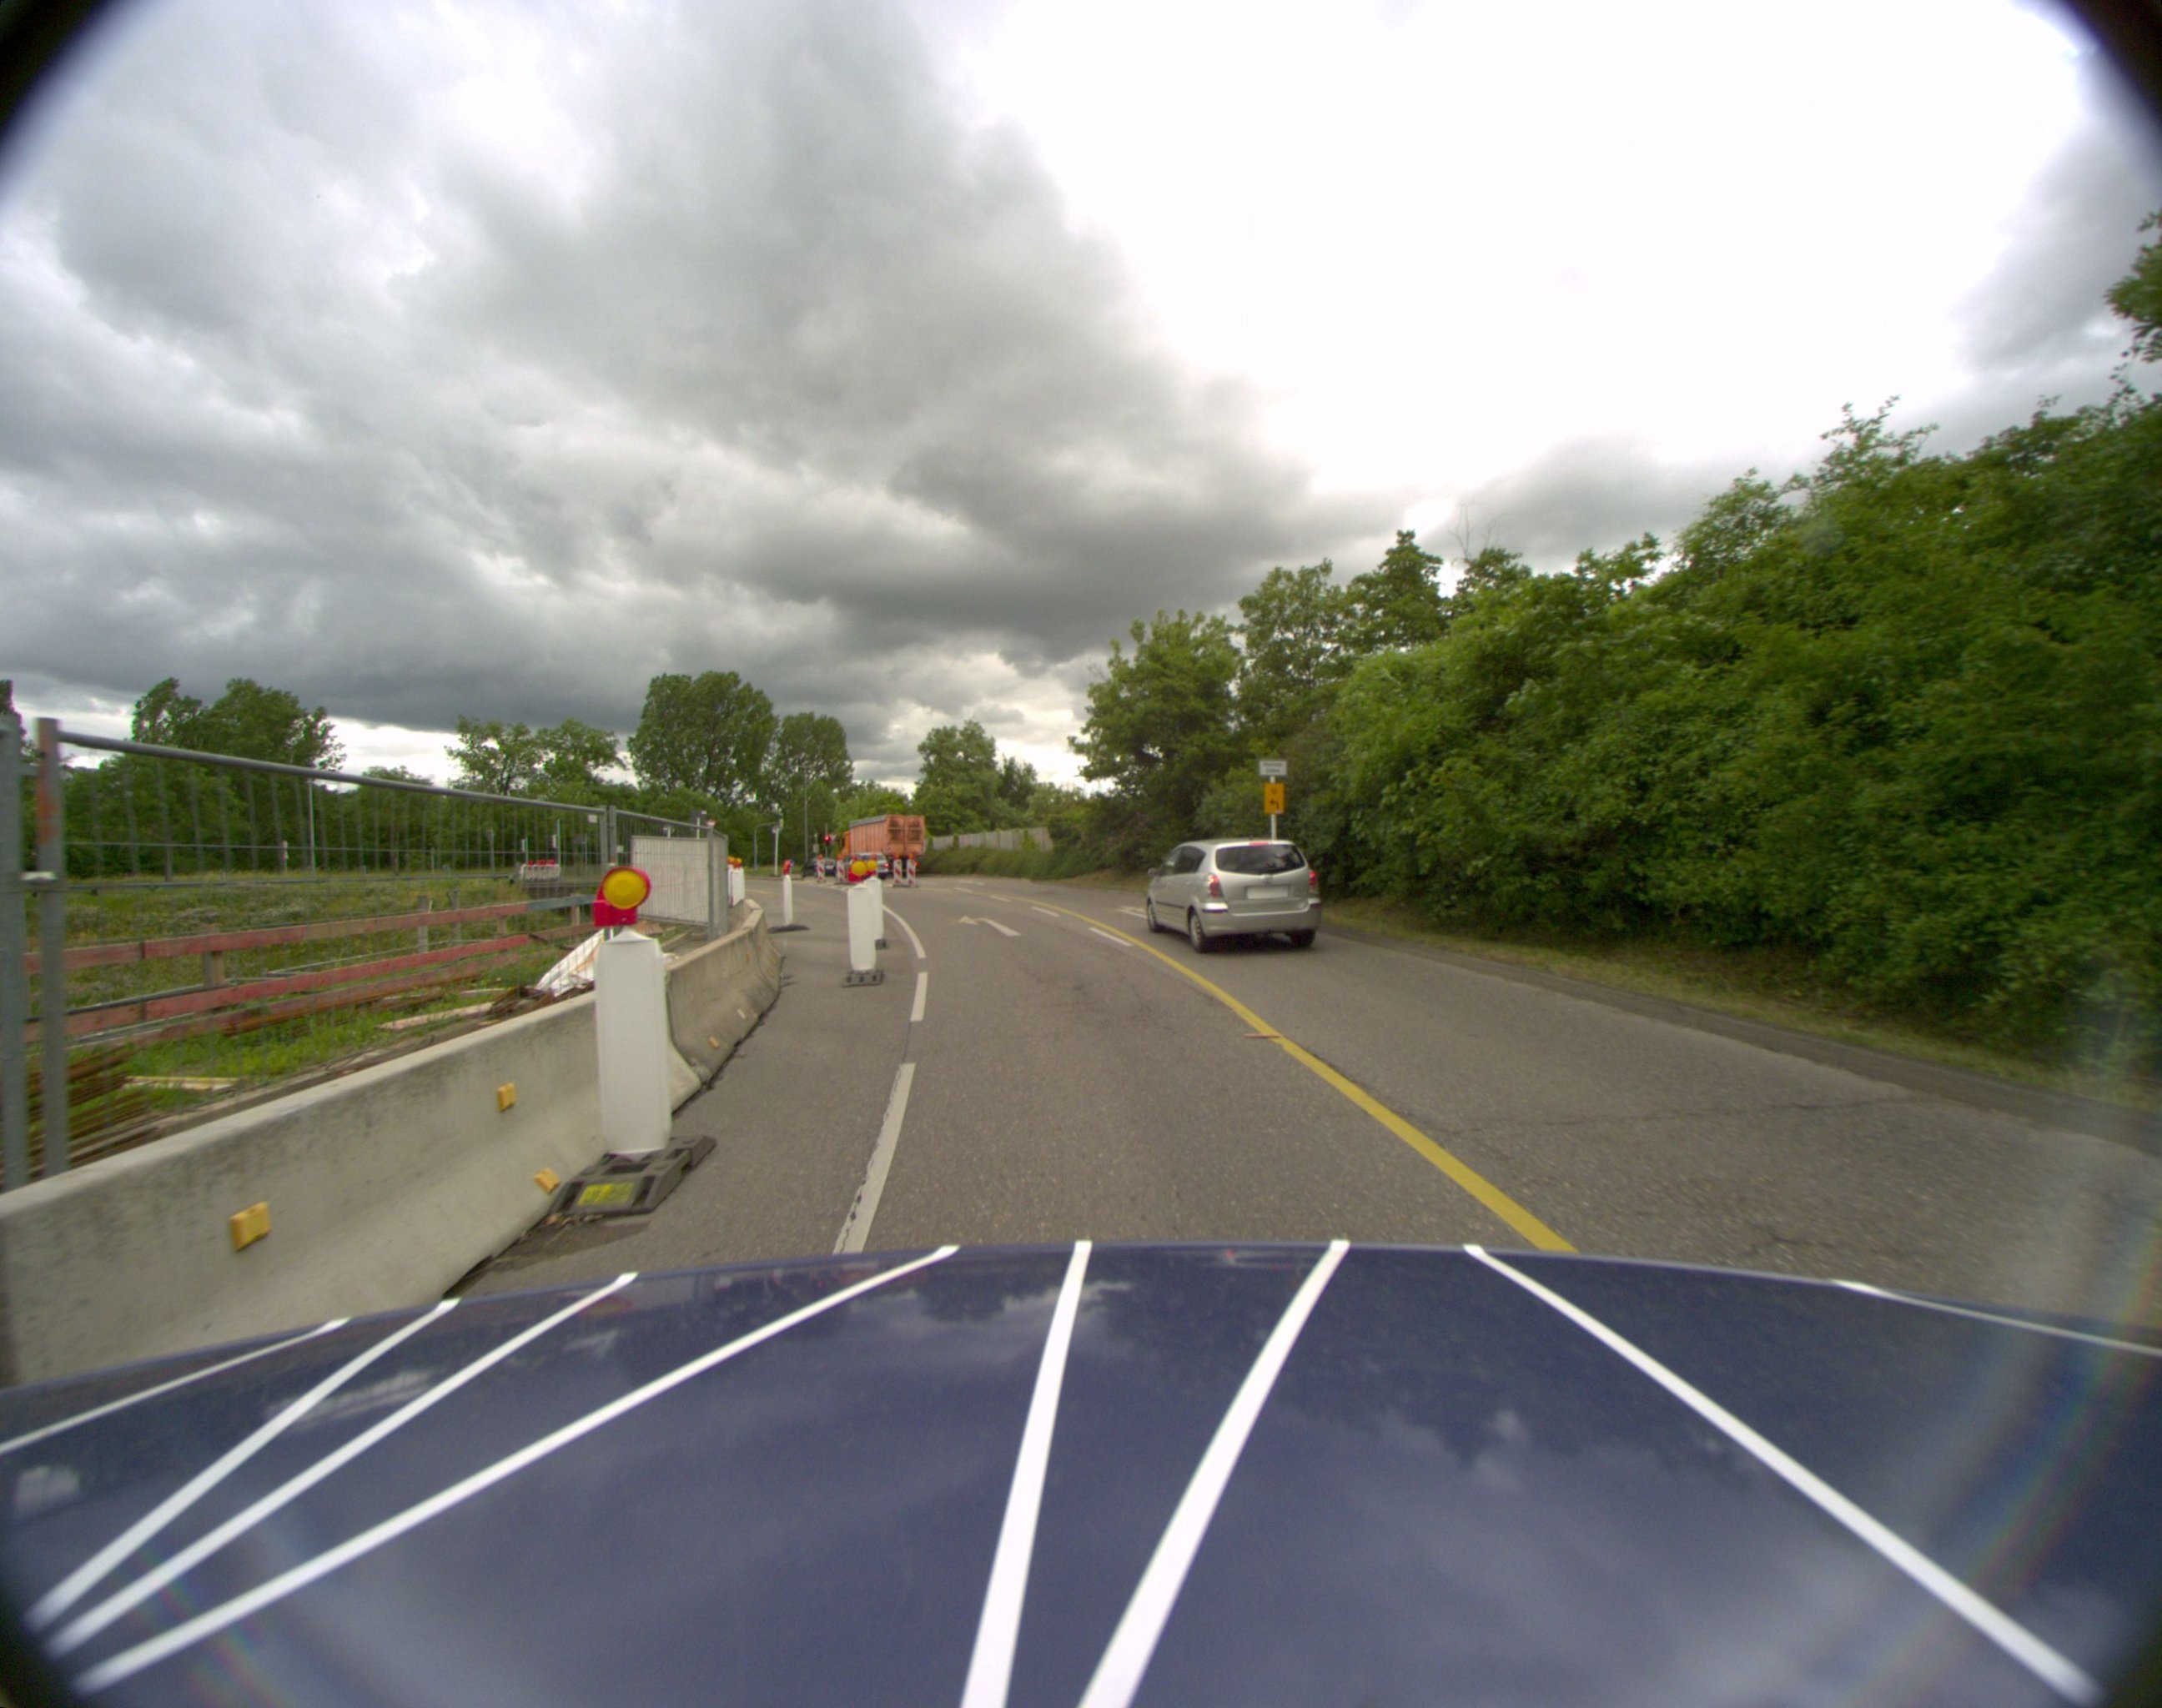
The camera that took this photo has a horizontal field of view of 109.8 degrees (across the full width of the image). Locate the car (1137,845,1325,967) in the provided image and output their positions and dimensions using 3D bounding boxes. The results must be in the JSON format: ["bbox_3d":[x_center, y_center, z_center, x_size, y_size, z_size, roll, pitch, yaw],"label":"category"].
[{"bbox_3d":[2.167,0.668,12.182,1.661,1.543,4.183,-2,1,-7],"label":"car"}]

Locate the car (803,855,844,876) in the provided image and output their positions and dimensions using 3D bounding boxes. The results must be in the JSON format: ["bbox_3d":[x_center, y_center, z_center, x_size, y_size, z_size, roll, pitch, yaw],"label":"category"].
[{"bbox_3d":[-19.669,0.901,58.026,1.647,1.542,3.778,1,-2,-41],"label":"car"}]

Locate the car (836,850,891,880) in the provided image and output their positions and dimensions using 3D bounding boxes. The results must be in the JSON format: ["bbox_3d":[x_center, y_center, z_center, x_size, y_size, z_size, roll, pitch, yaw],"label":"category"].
[{"bbox_3d":[-12.470,0.600,43.393,1.640,1.536,4.339,-3,2,-36],"label":"car"}]

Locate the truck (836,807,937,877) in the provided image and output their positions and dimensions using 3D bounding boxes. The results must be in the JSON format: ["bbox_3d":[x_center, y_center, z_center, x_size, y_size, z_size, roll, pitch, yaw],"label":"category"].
[{"bbox_3d":[-13.093,-0.736,50.359,3.126,4.196,9.767,-2,1,-35],"label":"truck"}]
